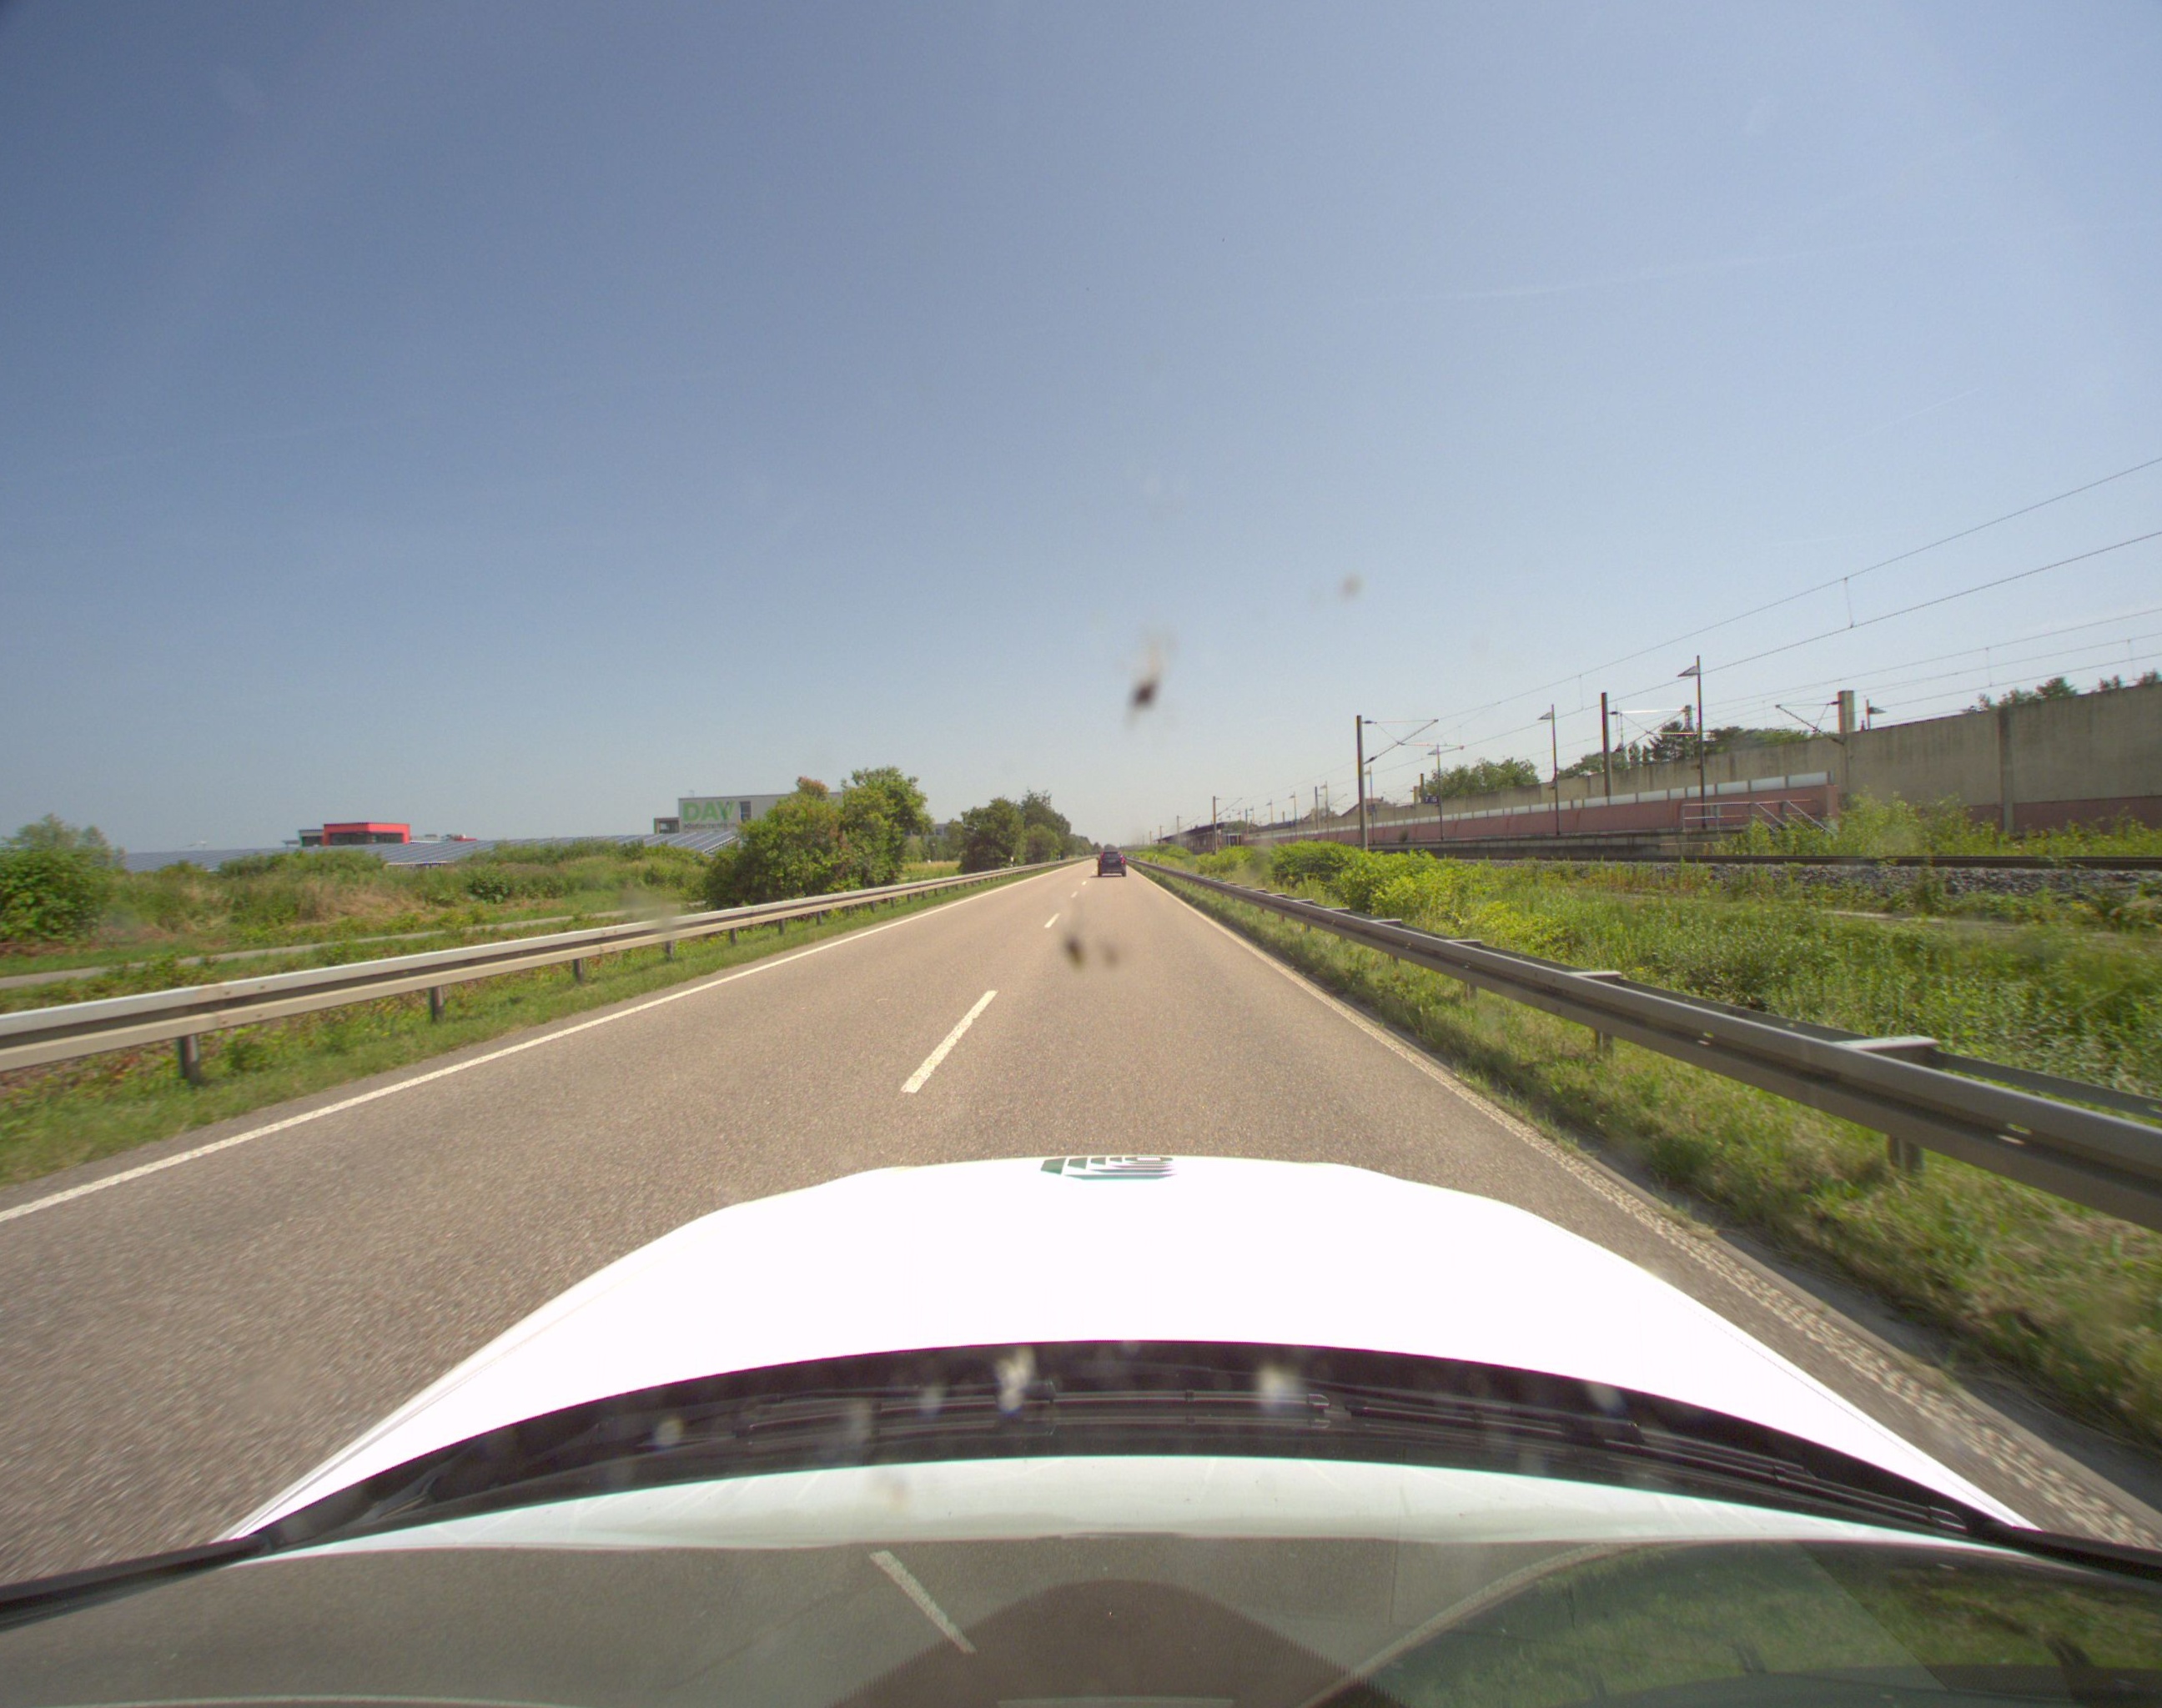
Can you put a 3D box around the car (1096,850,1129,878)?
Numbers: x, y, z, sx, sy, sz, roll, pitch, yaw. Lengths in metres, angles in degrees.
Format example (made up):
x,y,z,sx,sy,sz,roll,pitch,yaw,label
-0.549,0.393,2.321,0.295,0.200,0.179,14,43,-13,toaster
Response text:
x,y,z,sx,sy,sz,roll,pitch,yaw,label
2.040,0.648,54.457,1.987,1.700,3.999,-1,0,0,car
